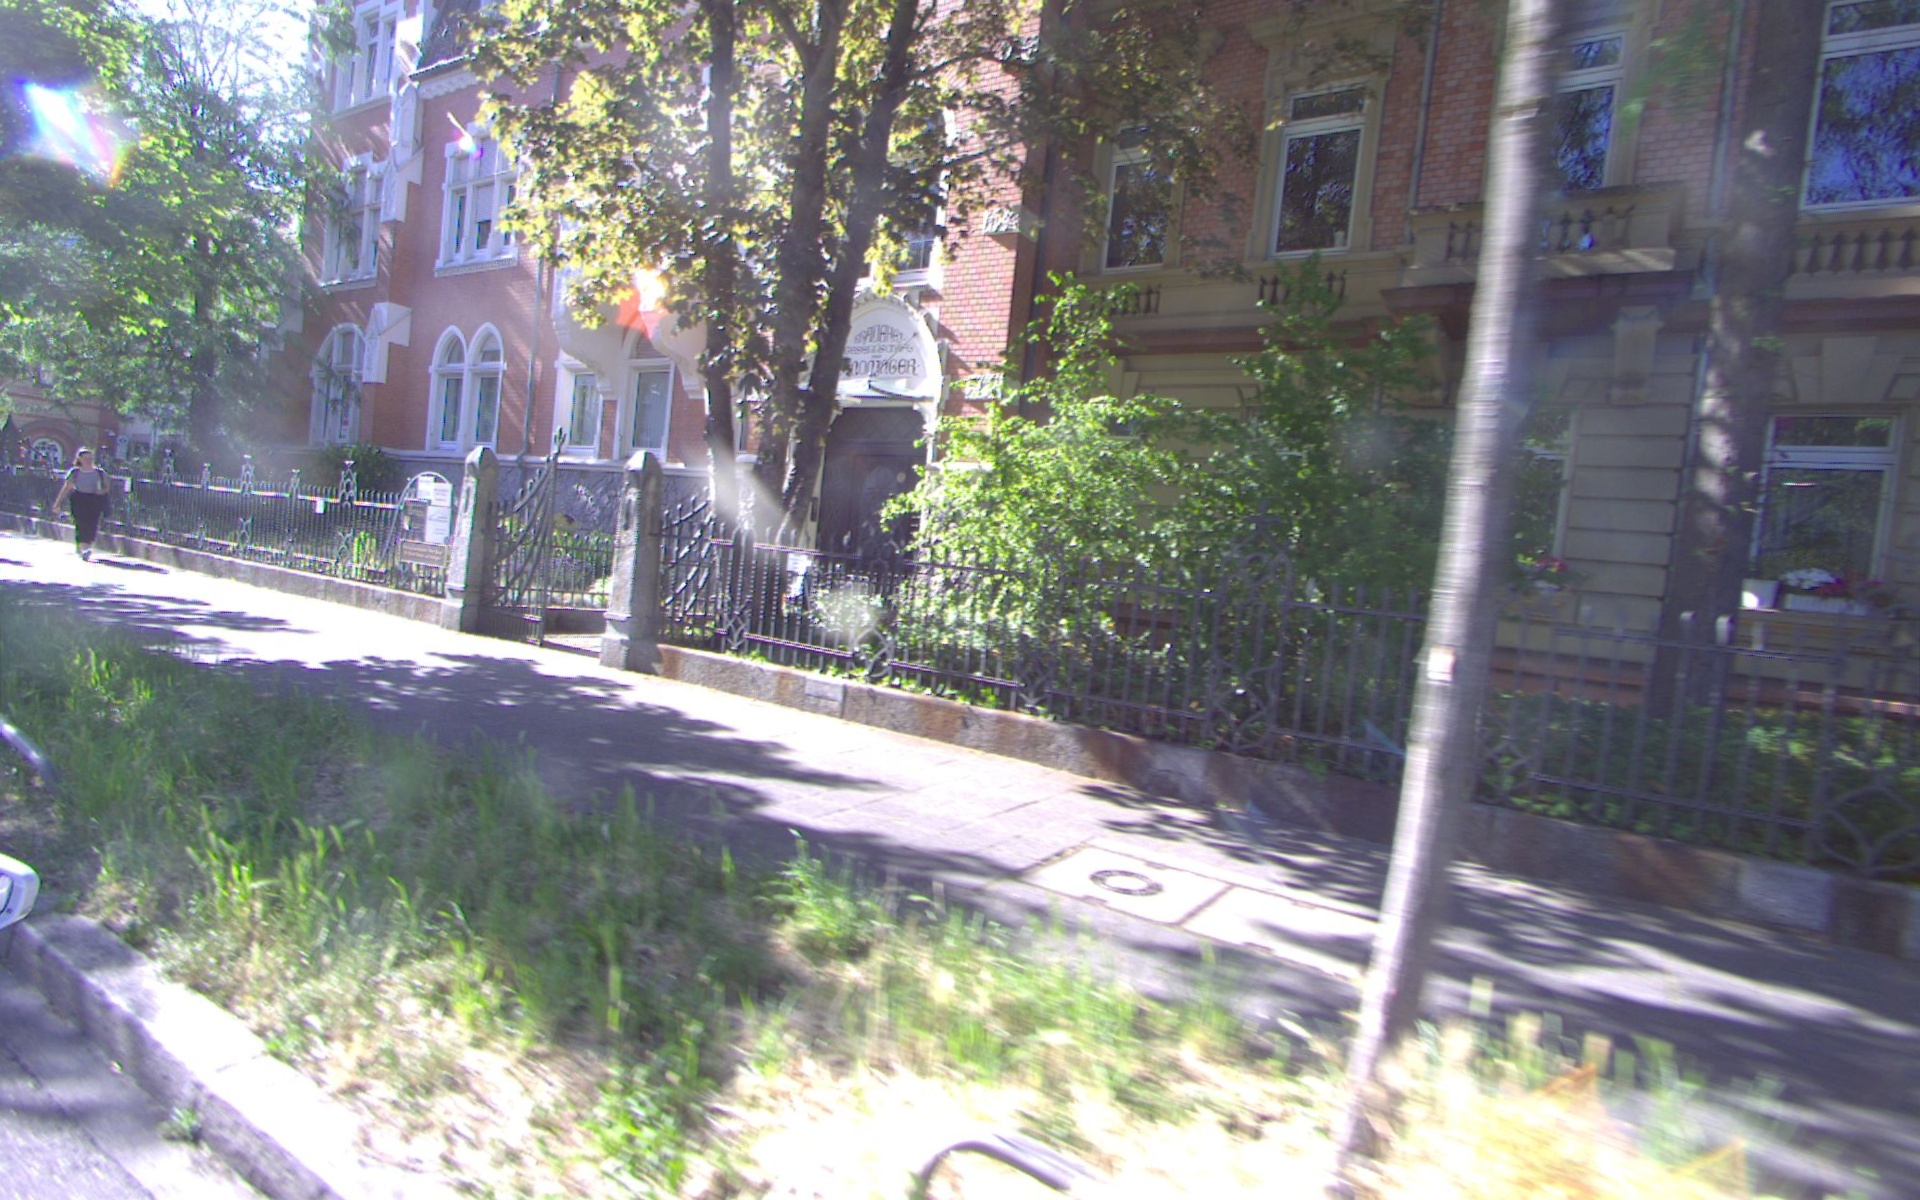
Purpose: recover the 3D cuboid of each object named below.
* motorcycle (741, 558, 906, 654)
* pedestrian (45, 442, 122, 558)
[{"bbox_3d":[-1.622,0.092,12.168,0.771,1.045,1.870,6,2,42],"label":"motorcycle"},{"bbox_3d":[-13.363,-1.511,15.336,0.807,1.682,0.694,7,5,33],"label":"pedestrian"}]
